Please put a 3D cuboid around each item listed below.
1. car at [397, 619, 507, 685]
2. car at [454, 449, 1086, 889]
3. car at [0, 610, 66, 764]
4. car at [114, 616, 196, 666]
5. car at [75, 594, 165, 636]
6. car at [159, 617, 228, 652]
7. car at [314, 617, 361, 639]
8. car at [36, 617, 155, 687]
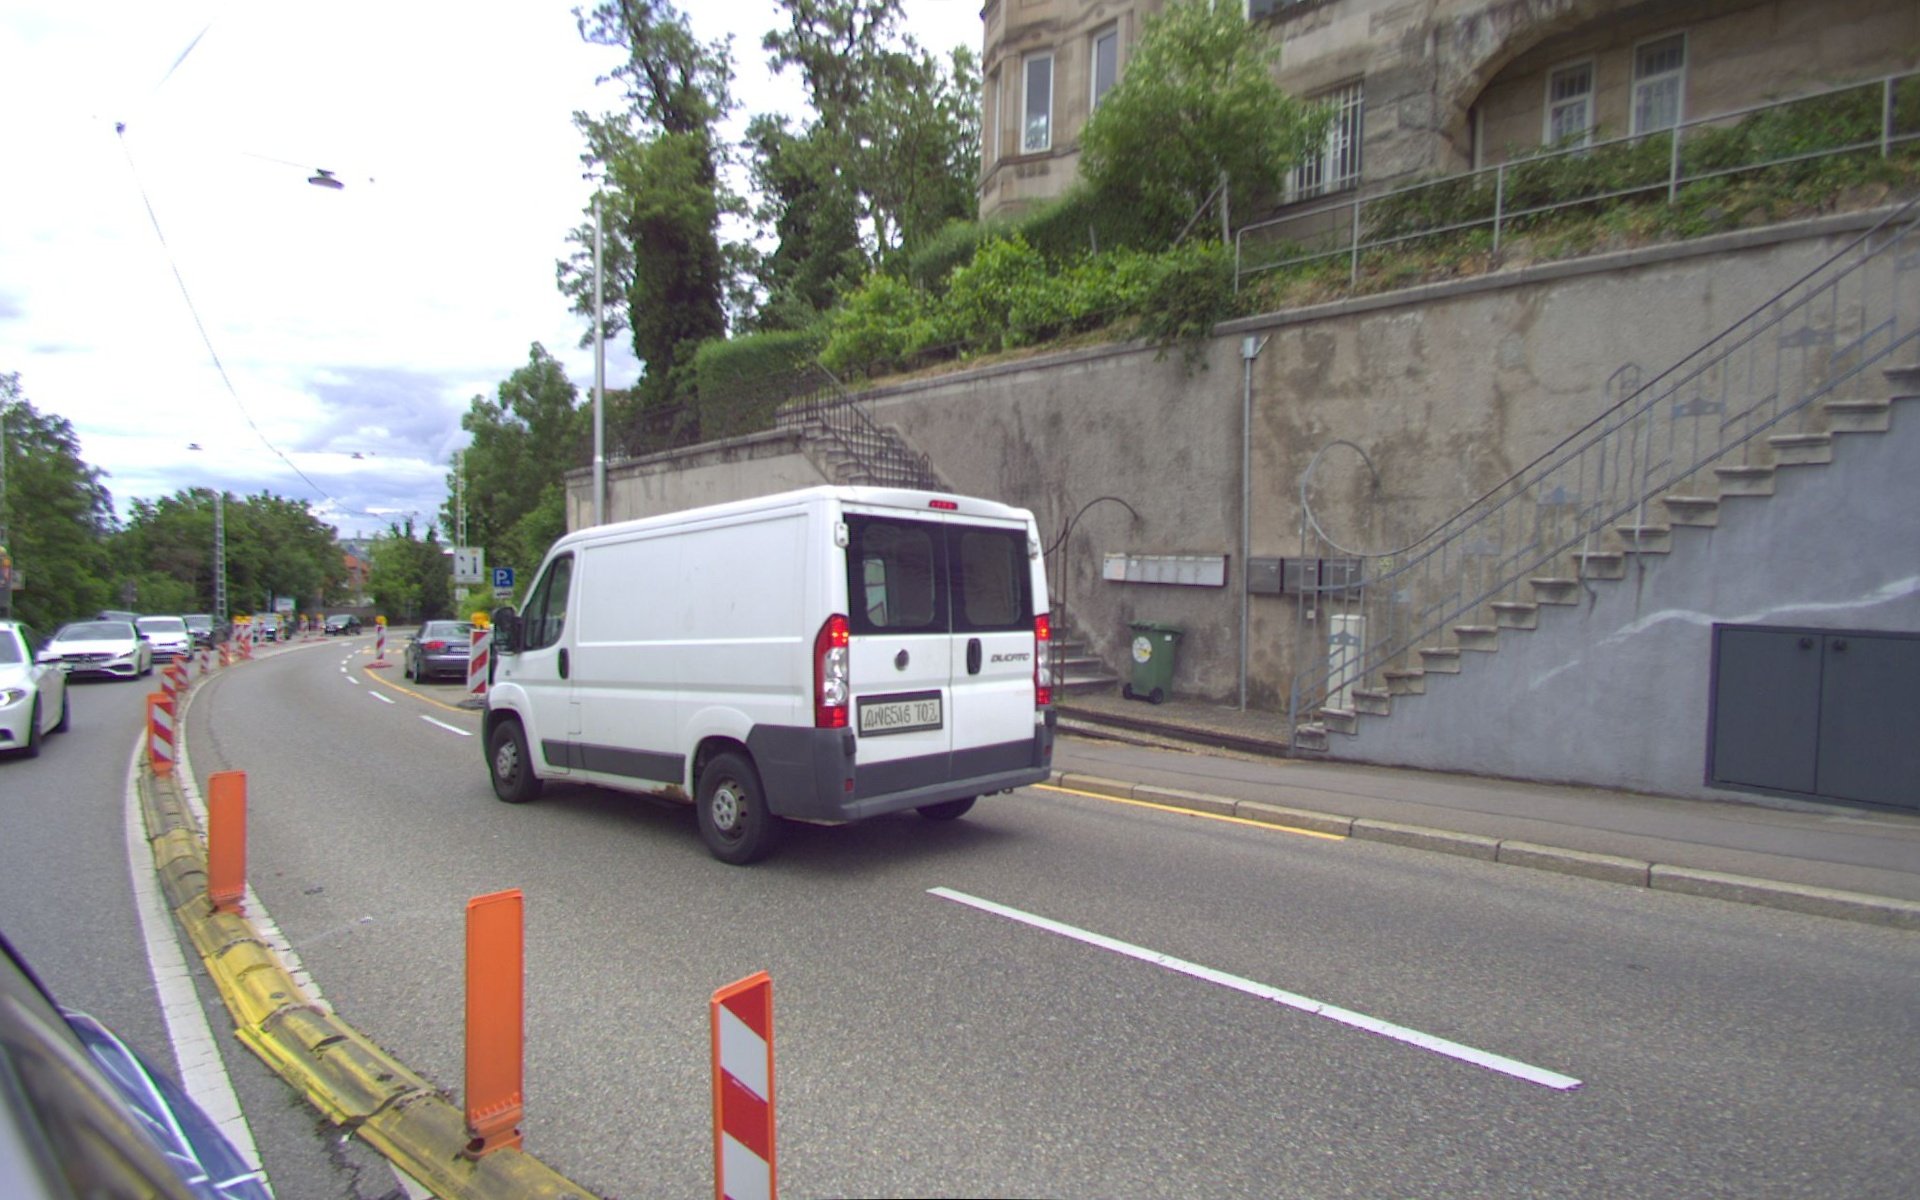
[{"bbox_3d":[-11.955,1.173,23.666,1.774,1.383,4.400,2,-2,-33],"label":"car"},{"bbox_3d":[-1.685,0.413,7.519,4.962,2.204,2.045,-2,-3,42],"label":"car"},{"bbox_3d":[-11.214,0.878,11.093,1.764,1.491,4.254,-1,0,-37],"label":"car"},{"bbox_3d":[-27.627,1.372,34.853,1.763,1.563,4.256,0,-1,-33],"label":"car"},{"bbox_3d":[-37.959,0.697,45.842,1.827,1.686,4.293,6,-3,-23],"label":"car"},{"bbox_3d":[-35.519,1.573,47.006,1.769,1.522,4.013,2,-2,-26],"label":"car"},{"bbox_3d":[-43.840,1.967,71.395,1.763,1.492,4.257,0,-1,-16],"label":"car"},{"bbox_3d":[-20.656,1.171,24.329,1.764,1.491,4.255,-1,0,-35],"label":"car"}]
